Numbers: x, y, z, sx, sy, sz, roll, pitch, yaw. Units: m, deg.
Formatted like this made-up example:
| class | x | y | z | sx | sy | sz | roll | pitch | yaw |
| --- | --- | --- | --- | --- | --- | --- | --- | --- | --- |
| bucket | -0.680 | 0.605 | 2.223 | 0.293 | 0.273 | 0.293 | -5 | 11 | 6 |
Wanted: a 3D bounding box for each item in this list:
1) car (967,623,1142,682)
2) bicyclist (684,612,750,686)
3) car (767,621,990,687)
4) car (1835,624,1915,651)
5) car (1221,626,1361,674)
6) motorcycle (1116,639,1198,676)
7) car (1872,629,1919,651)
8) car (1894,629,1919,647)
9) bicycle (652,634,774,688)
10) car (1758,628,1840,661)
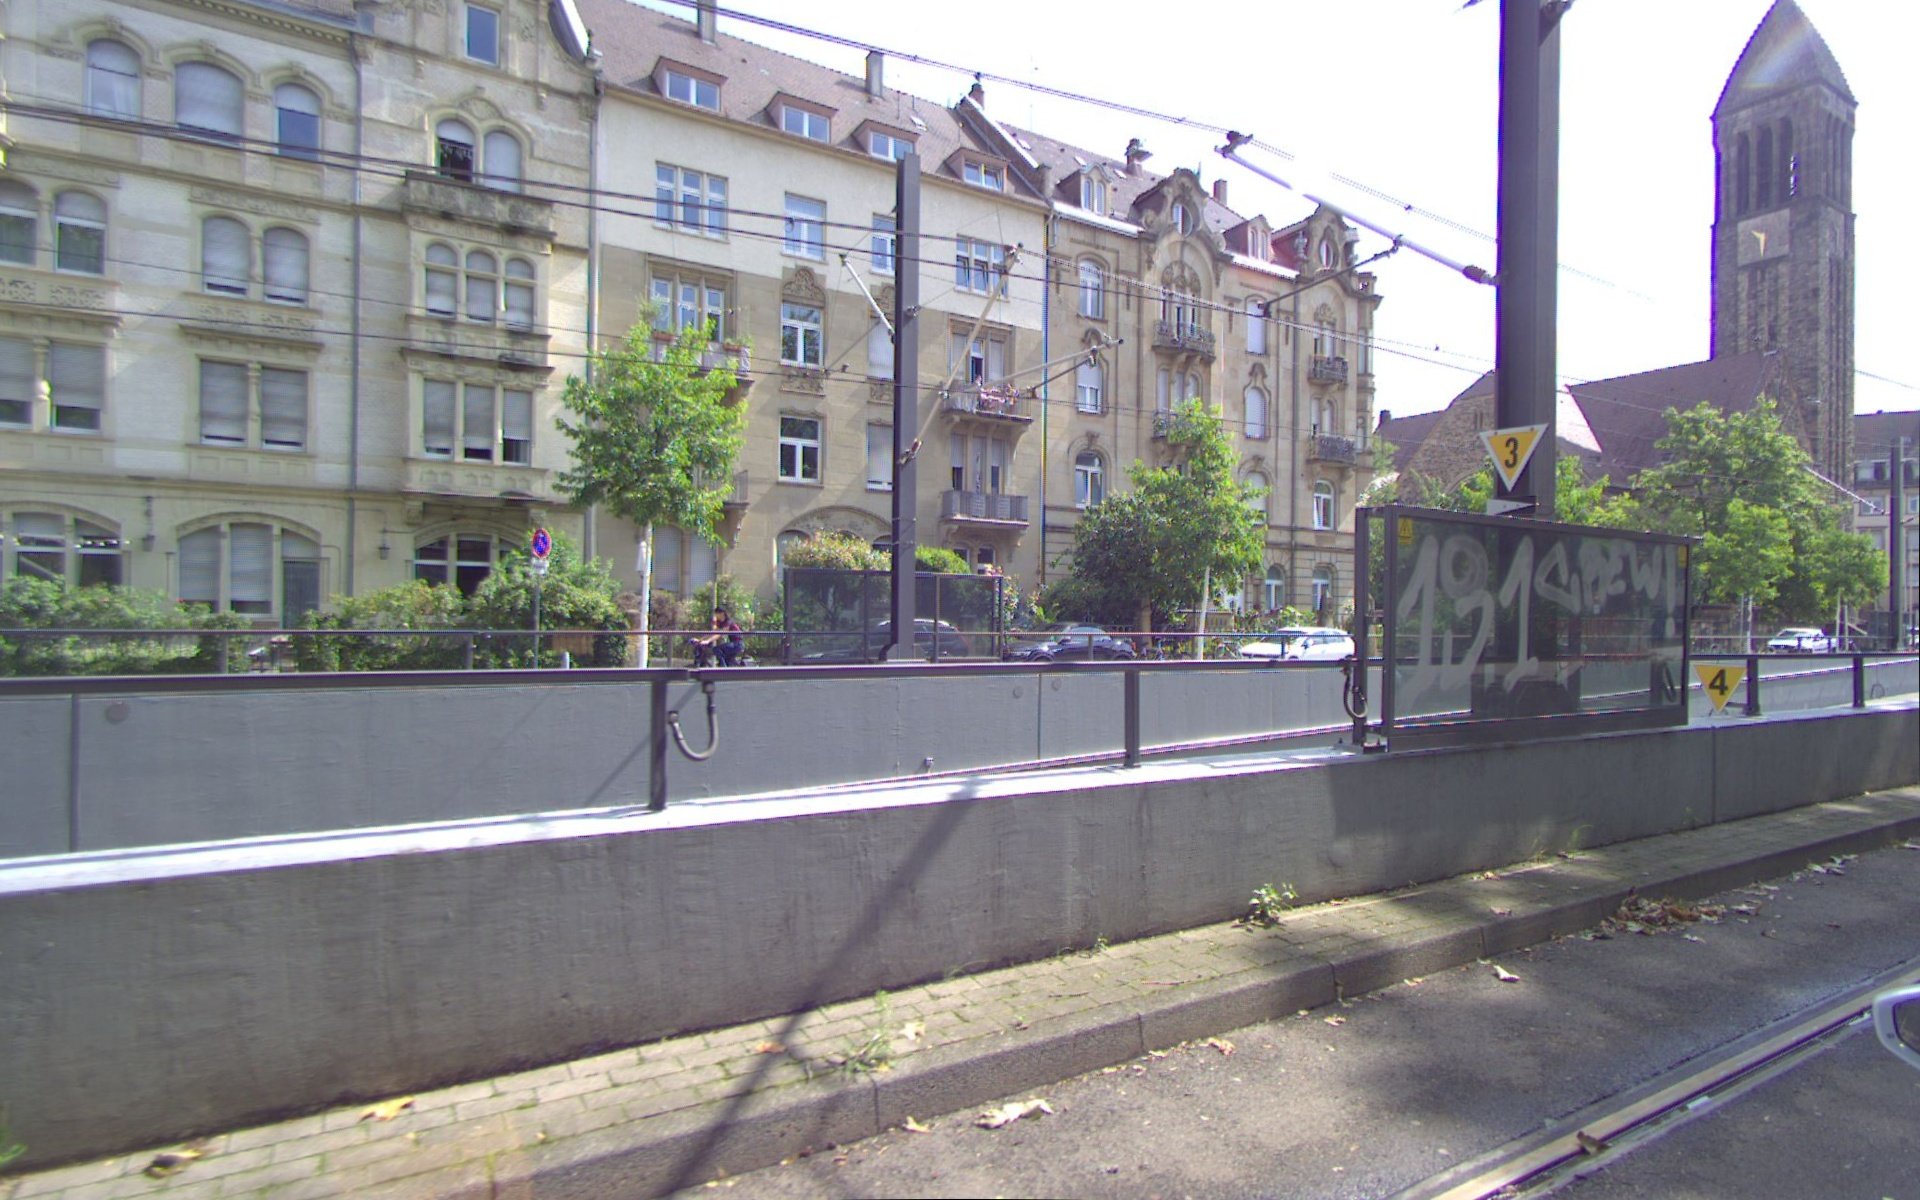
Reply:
| class | x | y | z | sx | sy | sz | roll | pitch | yaw |
| --- | --- | --- | --- | --- | --- | --- | --- | --- | --- |
| car | 2.421 | 1.278 | 25.399 | 4.056 | 1.345 | 2.008 | 1 | -1 | -33 |
| bicyclist | -4.618 | 0.930 | 19.089 | 1.036 | 1.355 | 0.764 | 1 | -3 | -30 |
| car | -1.809 | 1.165 | 22.775 | 4.670 | 1.345 | 1.939 | 1 | -1 | -30 |
| car | 65.040 | 2.649 | 71.449 | 1.875 | 1.772 | 3.848 | 1 | -1 | -33 |
| car | 9.970 | 1.471 | 30.143 | 4.266 | 1.345 | 1.741 | 1 | -2 | -33 |
| motorcycle | 5.353 | 1.559 | 27.385 | 1.402 | 0.954 | 1.751 | 1 | -3 | -32 |
| car | 68.194 | 2.861 | 72.453 | 1.834 | 1.522 | 3.248 | 1 | -1 | -31 |
| car | 90.934 | 3.594 | 94.816 | 1.960 | 1.696 | 4.001 | 1 | -1 | 2 |
| bicycle | -4.669 | 1.140 | 19.043 | 2.115 | 0.991 | 0.772 | 1 | -3 | -30 |
| car | 41.367 | 2.160 | 49.495 | 4.366 | 1.524 | 1.920 | 1 | -1 | -33 |
